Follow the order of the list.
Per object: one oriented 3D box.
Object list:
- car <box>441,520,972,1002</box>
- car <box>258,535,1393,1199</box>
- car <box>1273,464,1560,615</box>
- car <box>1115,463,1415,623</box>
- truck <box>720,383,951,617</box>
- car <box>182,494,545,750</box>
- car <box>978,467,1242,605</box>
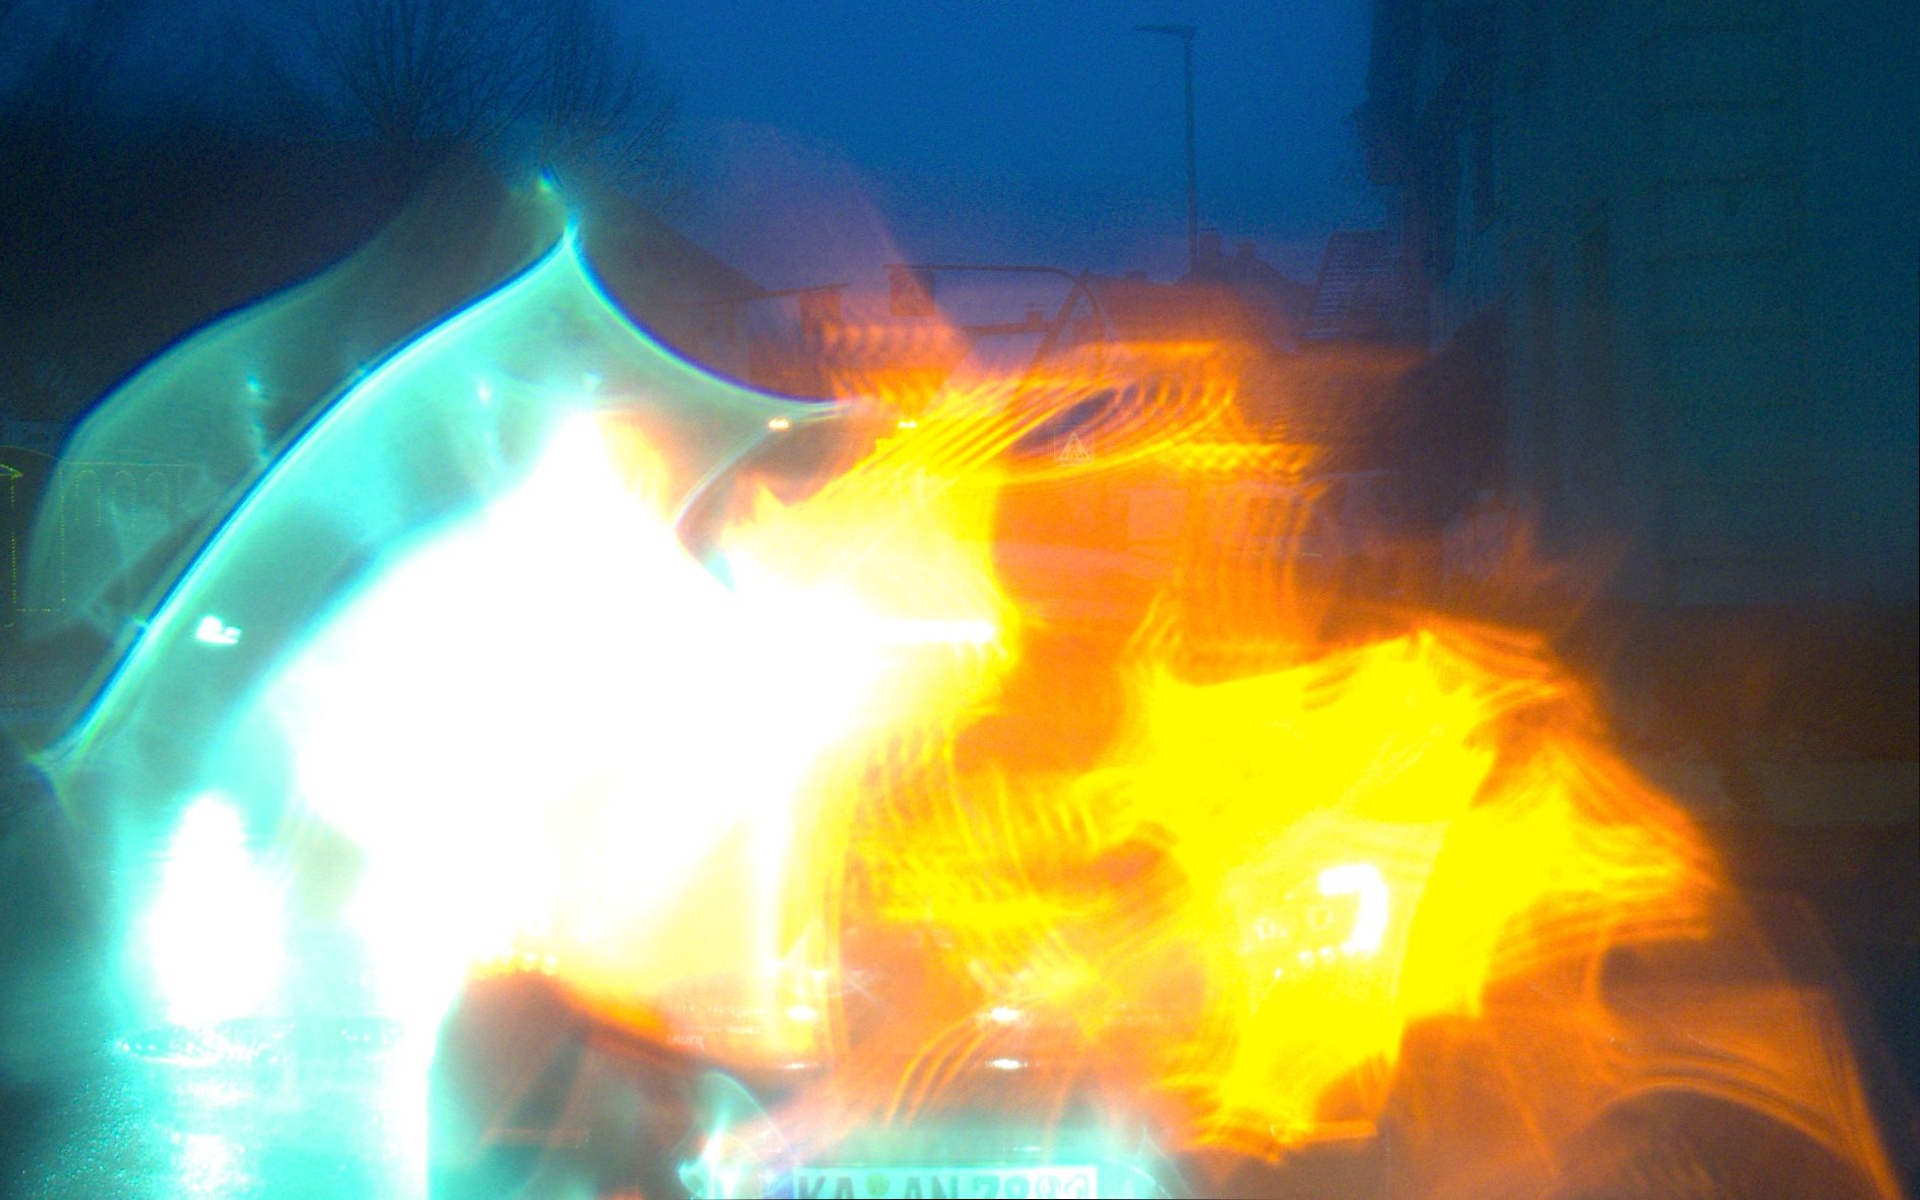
[{"bbox_3d":[-0.846,0.460,12.284,1.638,1.476,3.272,0,2,-2],"label":"car"},{"bbox_3d":[-0.210,0.614,6.666,1.638,1.476,3.379,0,1,-1],"label":"car"},{"bbox_3d":[6.687,-0.898,50.556,4.098,2.144,1.913,0,1,7],"label":"car"},{"bbox_3d":[4.302,-0.806,48.275,4.098,2.155,1.913,0,1,7],"label":"car"},{"bbox_3d":[-1.937,-1.441,49.941,3.015,3.118,8.002,0,1,-4],"label":"truck"},{"bbox_3d":[-4.027,0.079,23.880,1.810,1.590,4.400,-1,2,-1],"label":"car"},{"bbox_3d":[2.436,-1.035,55.249,4.098,2.144,1.913,0,1,7],"label":"car"}]
